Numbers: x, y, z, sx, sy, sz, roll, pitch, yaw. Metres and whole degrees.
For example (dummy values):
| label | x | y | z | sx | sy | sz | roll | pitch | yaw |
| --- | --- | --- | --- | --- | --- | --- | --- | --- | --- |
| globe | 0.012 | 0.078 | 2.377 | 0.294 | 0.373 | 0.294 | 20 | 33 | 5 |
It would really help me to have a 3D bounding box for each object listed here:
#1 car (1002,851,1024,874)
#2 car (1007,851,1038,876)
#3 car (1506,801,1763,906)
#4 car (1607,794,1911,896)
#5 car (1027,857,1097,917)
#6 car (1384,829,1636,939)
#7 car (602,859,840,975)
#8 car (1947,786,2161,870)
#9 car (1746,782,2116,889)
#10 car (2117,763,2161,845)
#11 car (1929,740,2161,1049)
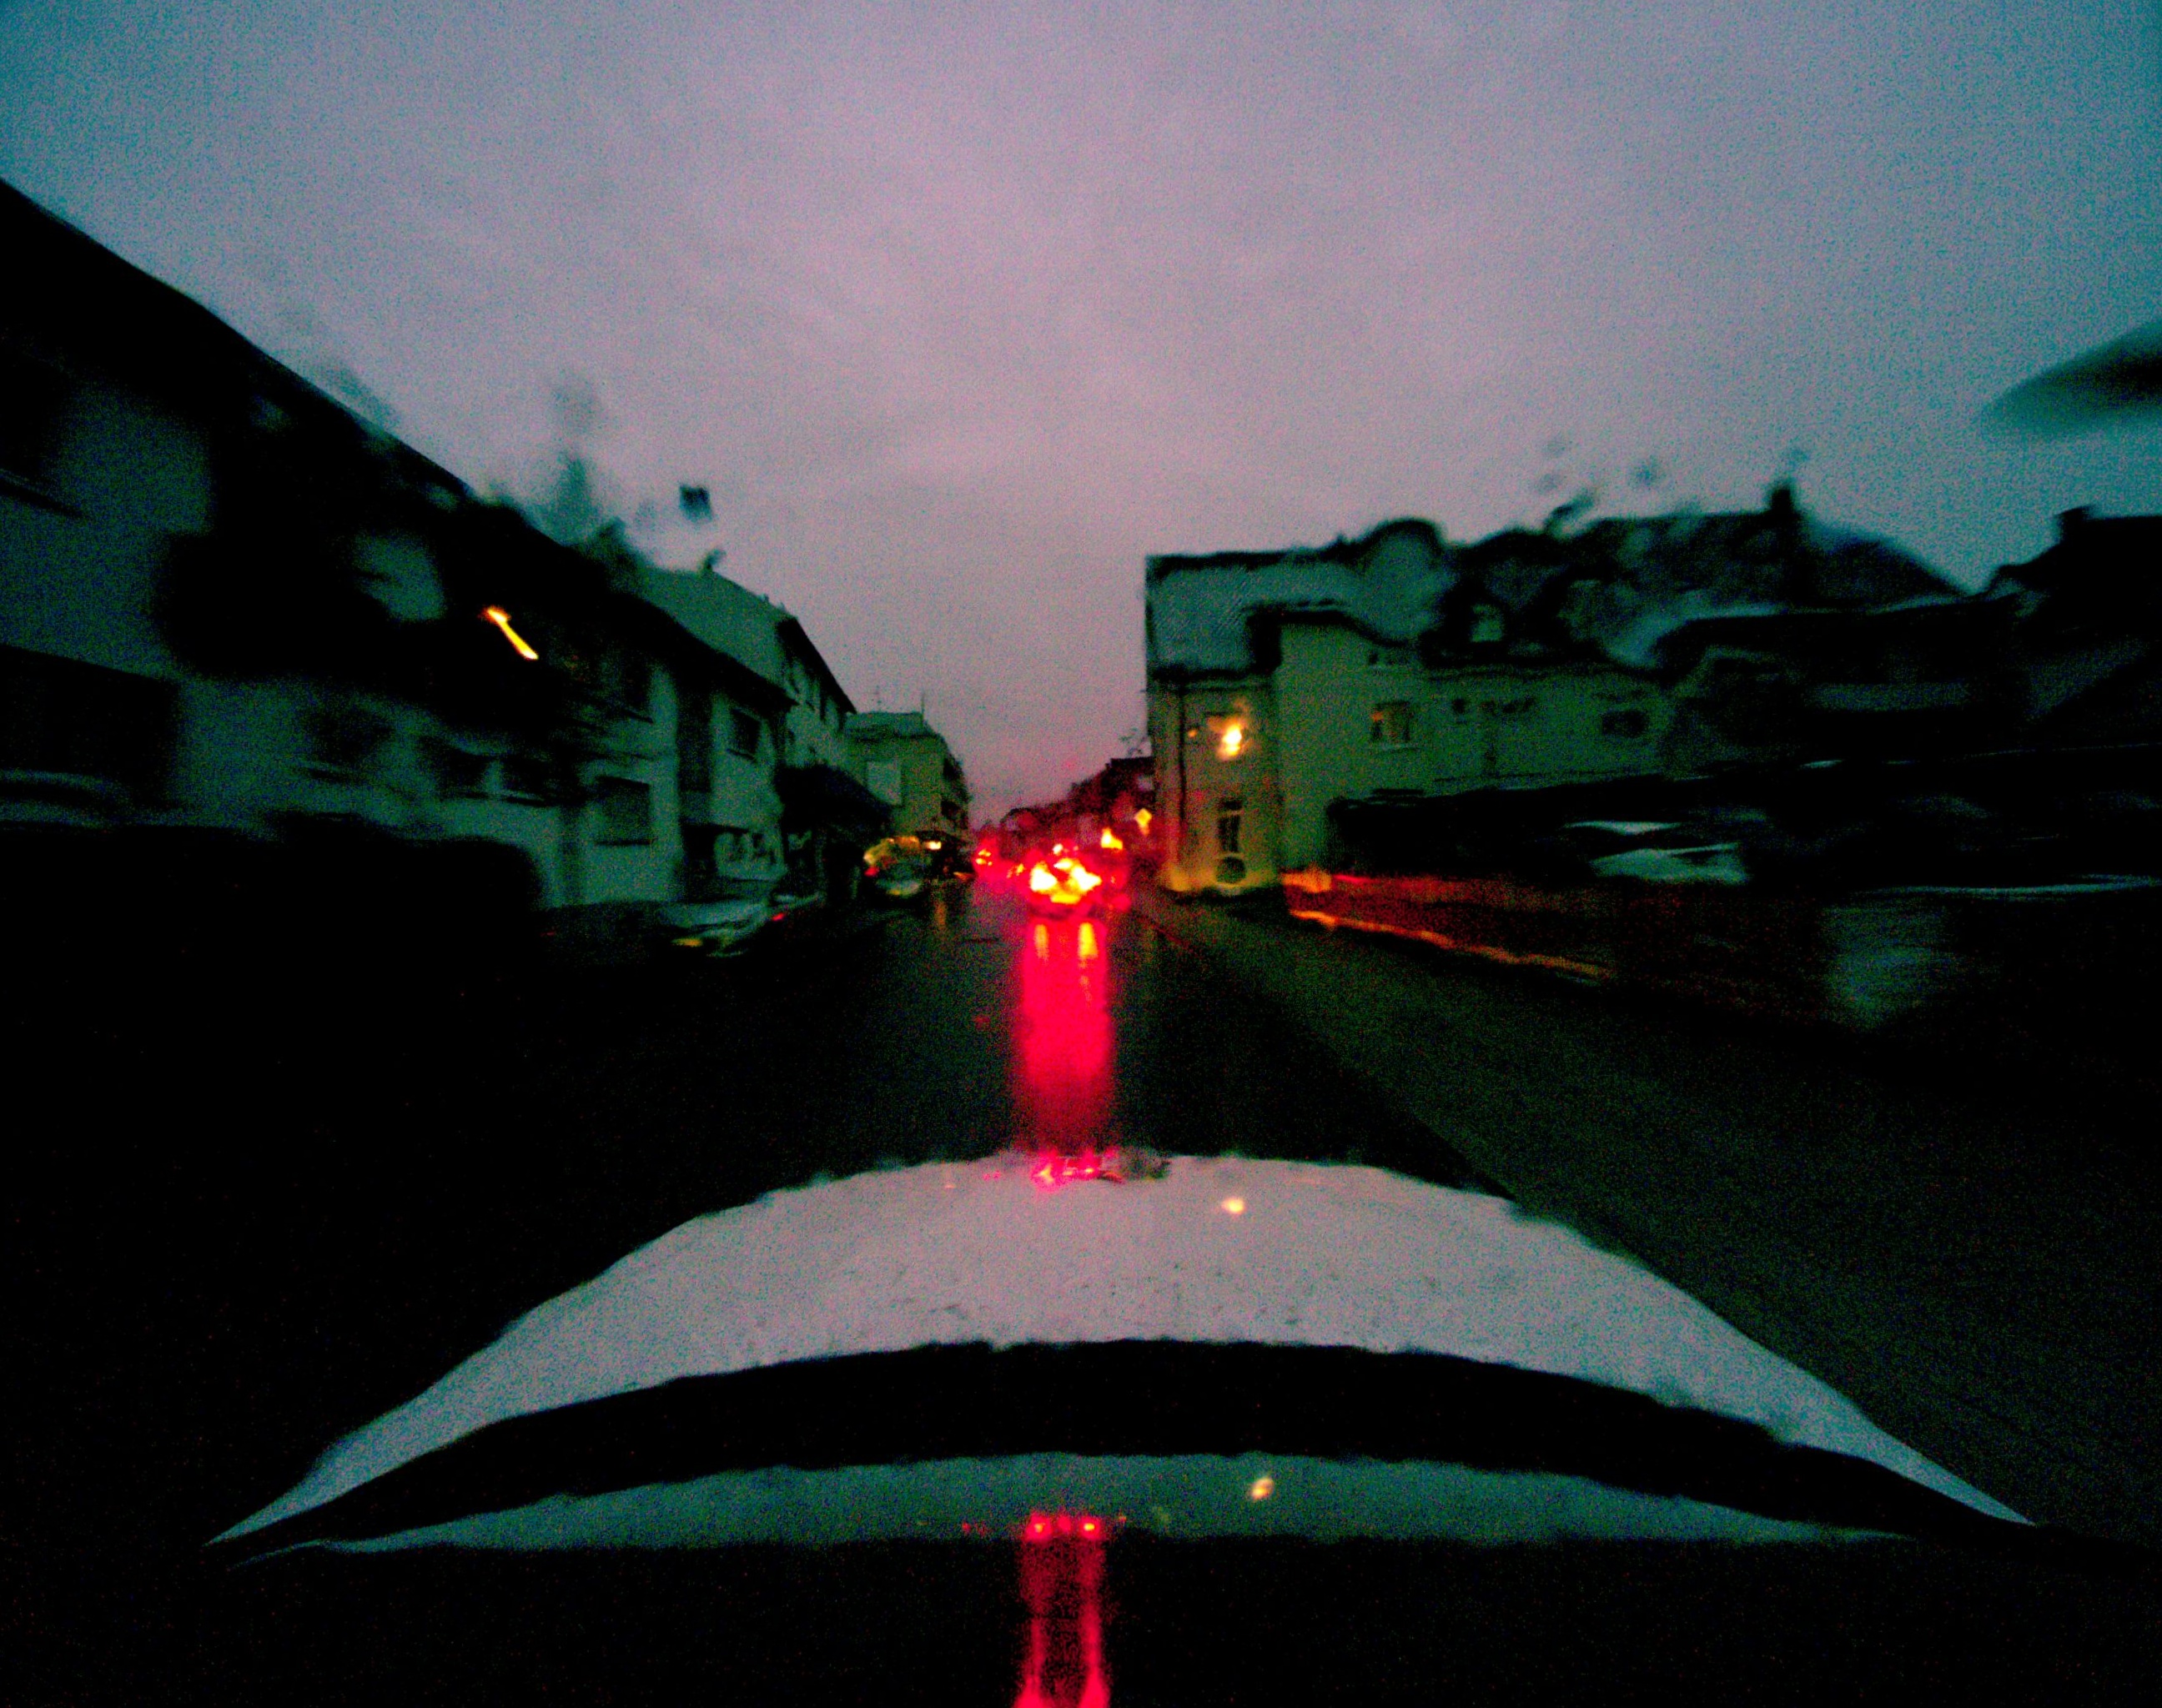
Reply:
| label | x | y | z | sx | sy | sz | roll | pitch | yaw |
| --- | --- | --- | --- | --- | --- | --- | --- | --- | --- |
| car | -6.715 | 0.813 | 80.727 | 1.988 | 2.202 | 3.997 | -1 | 0 | -2 |
| car | -3.976 | 0.608 | 55.313 | 1.989 | 1.588 | 3.994 | -1 | 0 | -4 |
| car | 9.254 | -0.011 | 14.017 | 1.718 | 1.462 | 3.628 | -4 | 0 | -4 |
| car | 11.956 | -0.149 | 14.879 | 1.816 | 1.462 | 4.551 | -4 | 0 | 2 |
| car | -0.599 | 0.865 | 23.217 | 1.810 | 1.533 | 3.995 | -1 | 0 | -3 |
| car | 6.715 | 0.416 | 13.239 | 1.885 | 1.462 | 3.625 | -2 | 0 | -7 |
| car | -5.861 | 0.927 | 14.003 | 1.905 | 1.529 | 4.548 | 2 | 0 | 1 |
| car | 17.569 | -0.463 | 13.738 | 1.825 | 1.256 | 4.055 | -4 | 0 | 6 |
| car | 14.472 | -0.338 | 14.363 | 1.879 | 1.462 | 4.543 | -4 | 2 | 3 |
| car | 20.022 | -0.946 | 13.085 | 1.877 | 1.462 | 3.931 | -4 | 0 | 6 |
| car | 7.047 | 0.169 | 3.684 | 1.984 | 1.765 | 4.355 | -4 | 0 | 4 |
